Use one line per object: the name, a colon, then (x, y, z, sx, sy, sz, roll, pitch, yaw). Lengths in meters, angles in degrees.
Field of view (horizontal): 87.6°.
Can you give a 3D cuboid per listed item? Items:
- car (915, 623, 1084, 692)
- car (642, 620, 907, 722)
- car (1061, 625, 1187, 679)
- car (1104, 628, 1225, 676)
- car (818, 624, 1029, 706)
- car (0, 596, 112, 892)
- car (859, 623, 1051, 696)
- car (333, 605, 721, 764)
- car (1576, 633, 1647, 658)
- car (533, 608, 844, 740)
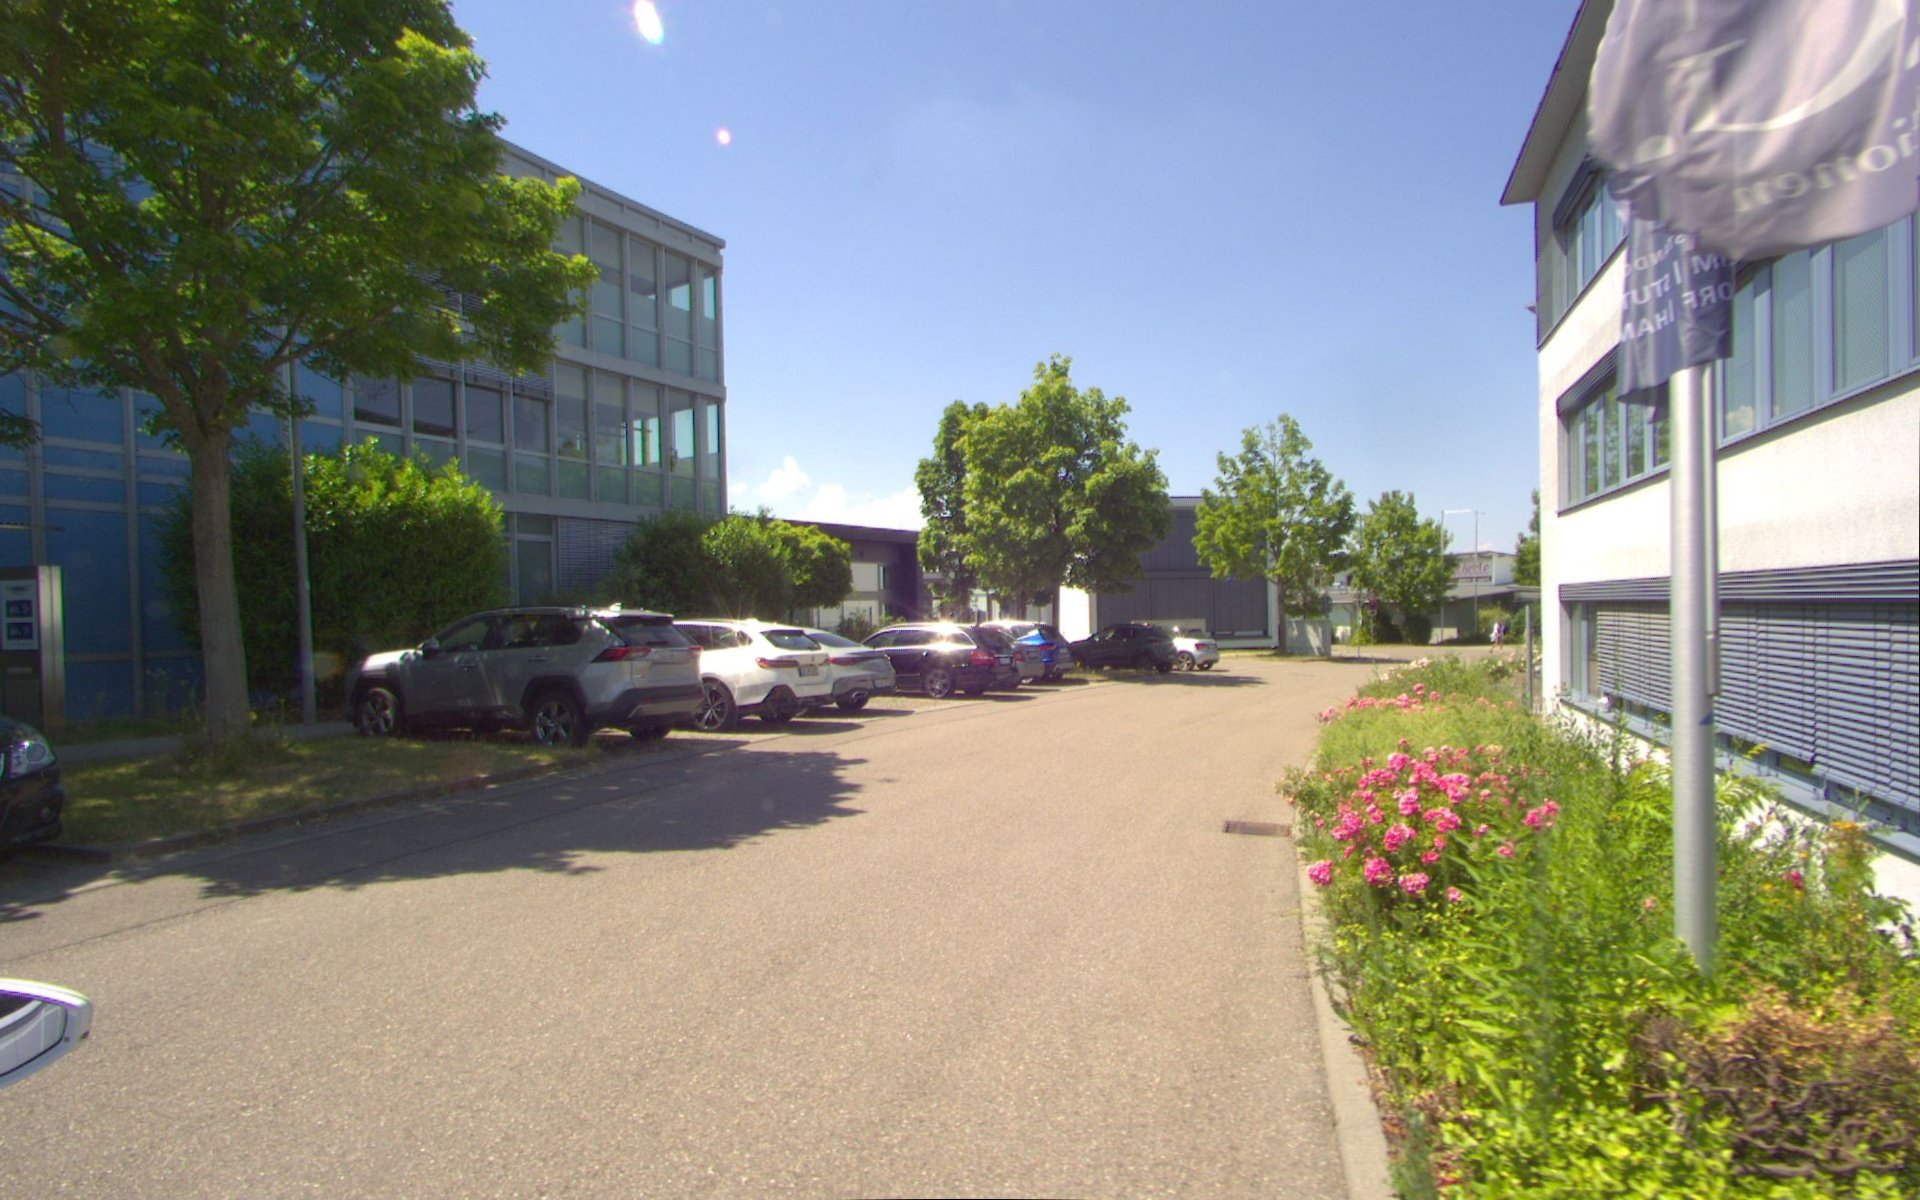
car: (0.987, 1.439, 25.982, 4.120, 1.625, 1.652, 0, -1, 34)
car: (-3.122, 1.138, 16.905, 4.104, 1.505, 1.658, 0, -1, 20)
car: (5.088, 1.591, 31.251, 3.544, 1.545, 1.625, 0, -2, 38)
car: (6.703, 1.676, 32.980, 3.544, 1.461, 1.625, 0, -2, 38)
car: (-0.776, 1.292, 20.877, 4.112, 1.505, 1.655, 0, -1, 28)
car: (-7.342, 0.783, 5.679, 4.483, 1.569, 1.762, -1, -2, 18)
car: (-0.112, 1.324, 23.107, 4.105, 1.505, 1.658, 0, -1, 21)
car: (-5.293, 0.938, 12.314, 4.256, 1.664, 1.854, 0, -1, 20)
car: (38.471, 2.663, 59.192, 1.562, 1.460, 3.210, 0, -2, -18)
car: (-3.910, 0.993, 14.487, 4.129, 1.664, 1.658, 0, -1, 20)
